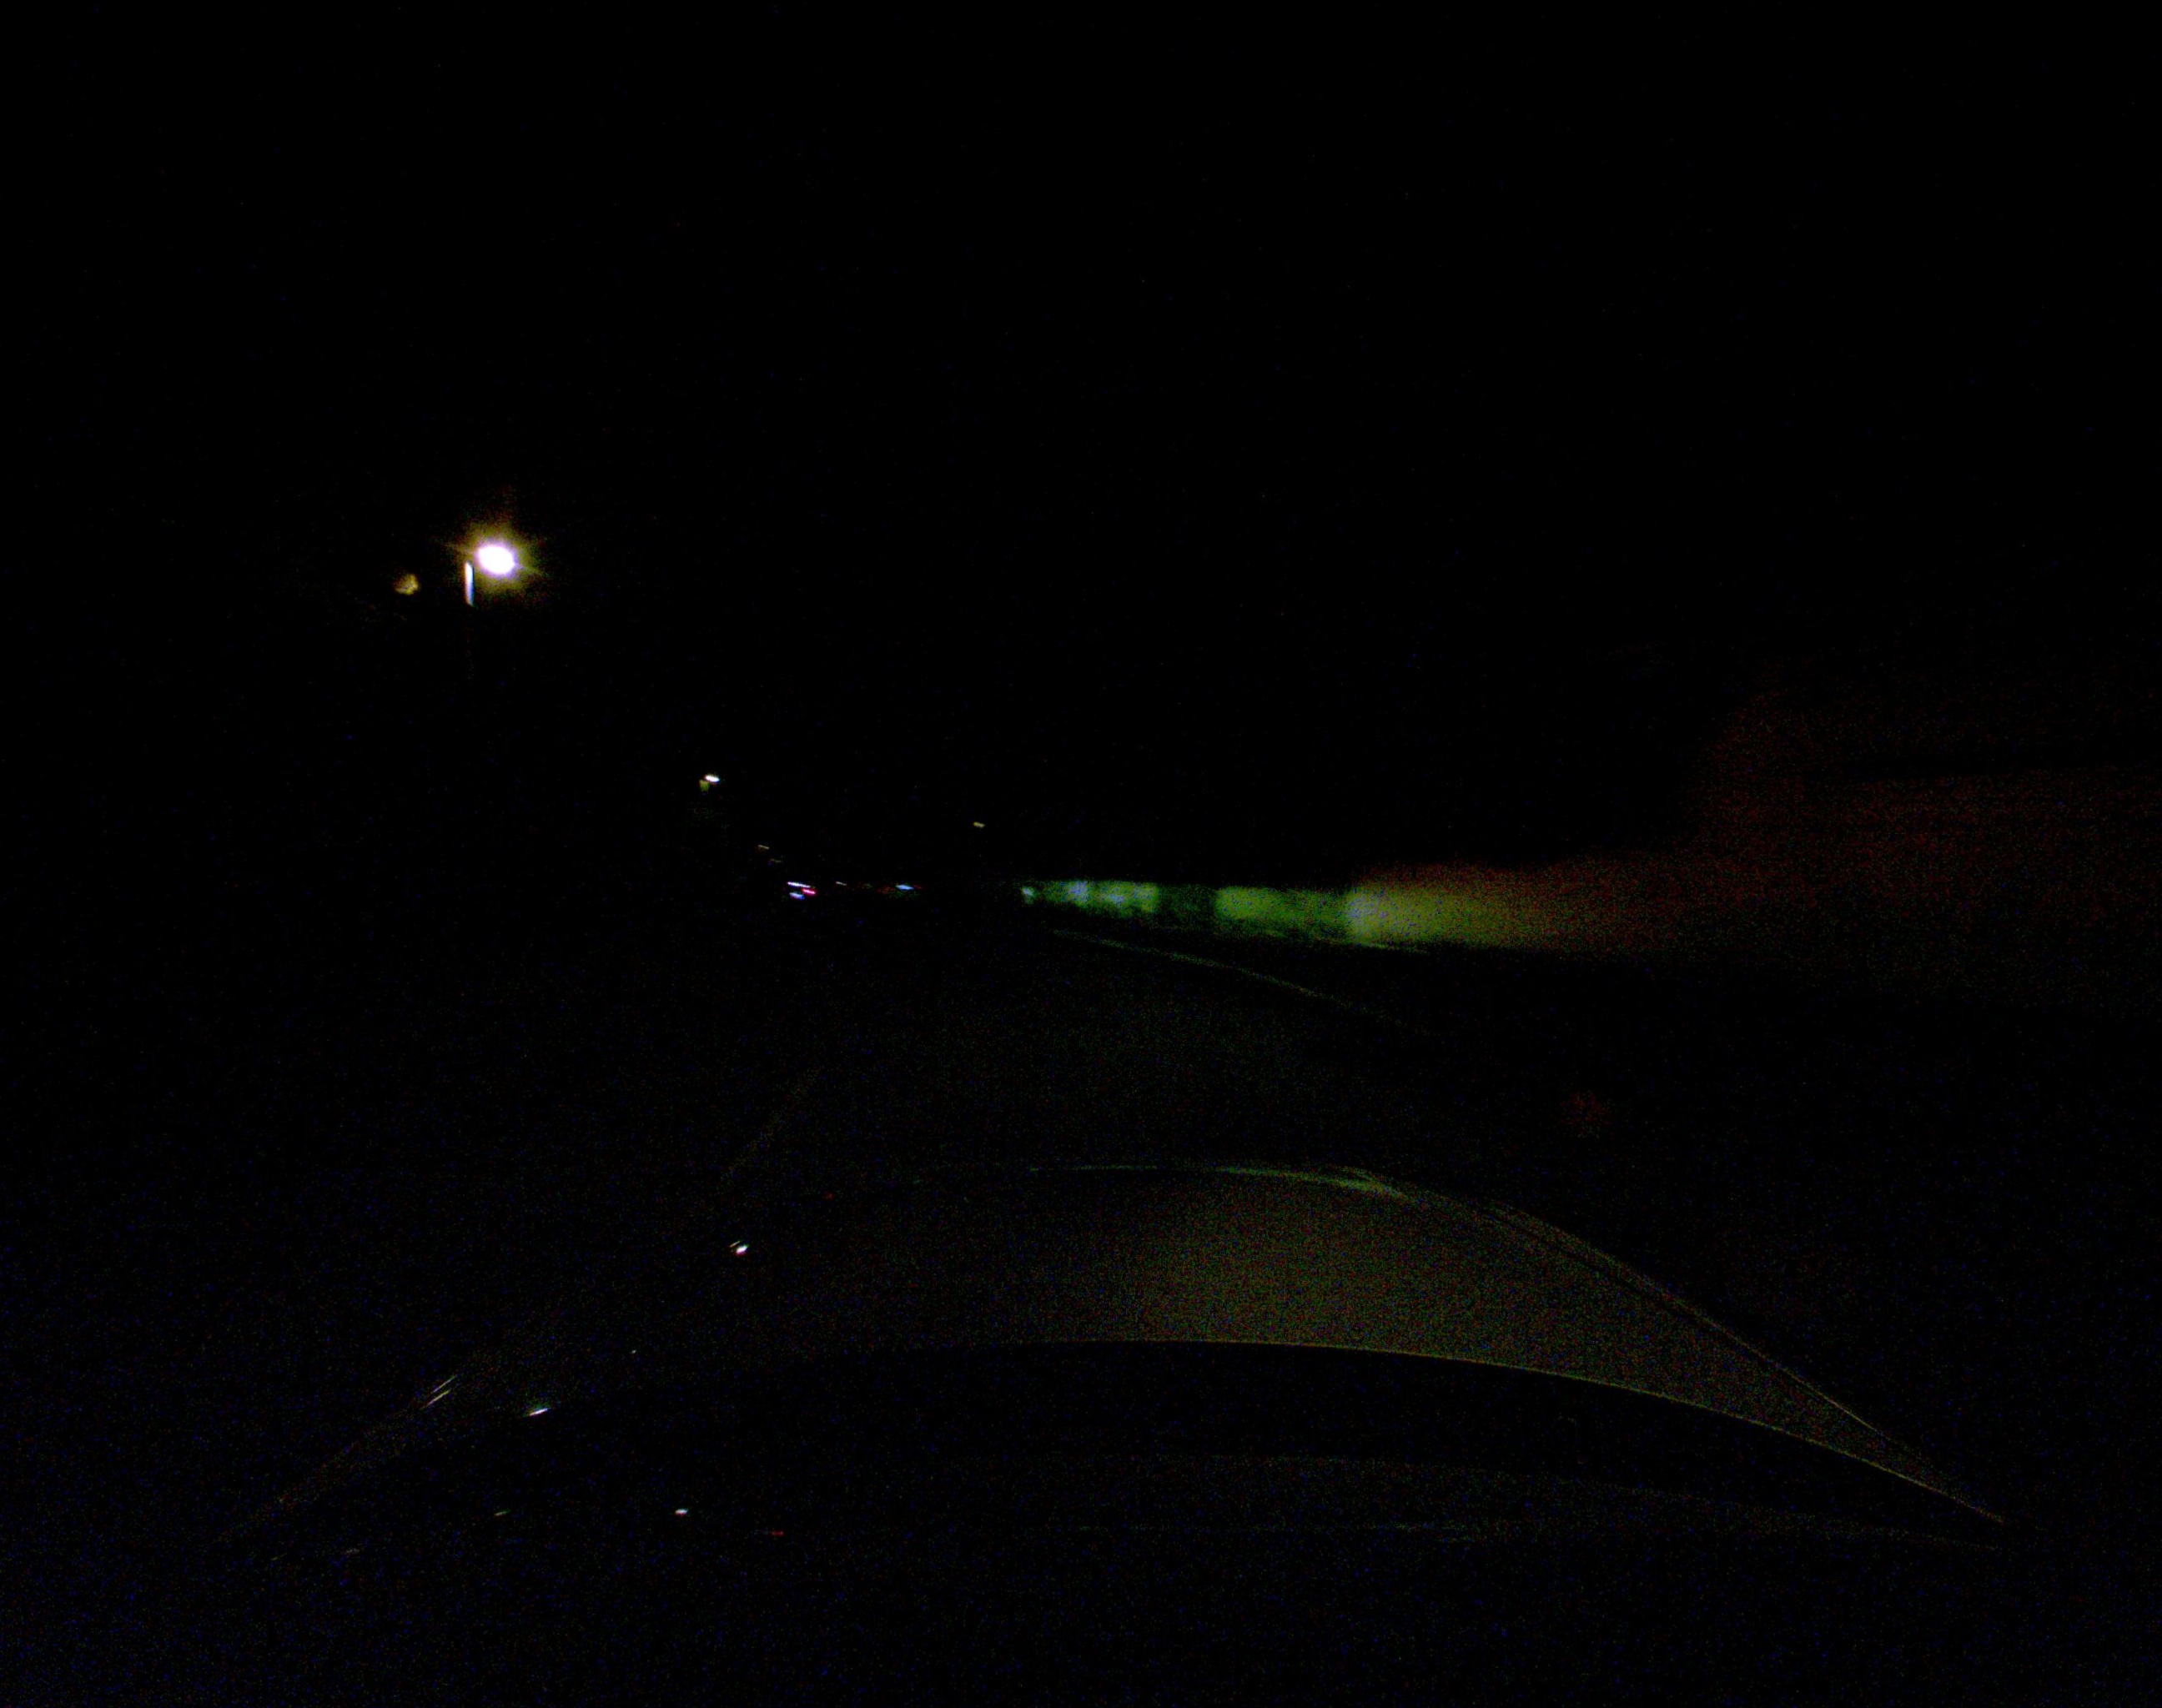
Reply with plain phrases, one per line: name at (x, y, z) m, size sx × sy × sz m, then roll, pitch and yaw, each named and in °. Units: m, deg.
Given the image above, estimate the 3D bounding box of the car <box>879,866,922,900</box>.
car at (-9.289, 1.453, 41.737) m, size 1.759 × 1.594 × 4.699 m, roll 0°, pitch -1°, yaw -18°

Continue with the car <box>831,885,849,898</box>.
car at (-29.696, 4.623, 100.297) m, size 1.770 × 1.476 × 4.243 m, roll 1°, pitch -3°, yaw -22°

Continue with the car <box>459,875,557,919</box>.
car at (-20.653, 1.513, 29.525) m, size 1.855 × 1.427 × 3.974 m, roll -1°, pitch -1°, yaw -19°

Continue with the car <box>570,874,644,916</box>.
car at (-17.833, 1.503, 30.814) m, size 1.984 × 1.439 × 3.968 m, roll -1°, pitch -1°, yaw -24°

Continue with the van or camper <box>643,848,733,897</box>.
van or camper at (-26.893, 1.263, 55.780) m, size 5.430 × 3.112 × 2.112 m, roll 0°, pitch -5°, yaw -29°

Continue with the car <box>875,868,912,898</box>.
car at (-10.618, 1.617, 46.014) m, size 1.614 × 1.461 × 3.692 m, roll -4°, pitch 1°, yaw -19°

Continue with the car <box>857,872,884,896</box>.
car at (-16.119, 2.273, 62.256) m, size 1.723 × 1.761 × 4.728 m, roll 0°, pitch -2°, yaw -18°

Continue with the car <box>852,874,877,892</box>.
car at (-17.946, 2.423, 67.395) m, size 1.749 × 1.471 × 4.228 m, roll 0°, pitch -3°, yaw -19°

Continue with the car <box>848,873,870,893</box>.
car at (-19.836, 2.582, 72.652) m, size 1.836 × 1.664 × 4.591 m, roll -1°, pitch -3°, yaw -17°

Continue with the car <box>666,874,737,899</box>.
car at (-27.597, 2.352, 59.430) m, size 4.429 × 1.613 × 2.052 m, roll -2°, pitch -3°, yaw -18°
